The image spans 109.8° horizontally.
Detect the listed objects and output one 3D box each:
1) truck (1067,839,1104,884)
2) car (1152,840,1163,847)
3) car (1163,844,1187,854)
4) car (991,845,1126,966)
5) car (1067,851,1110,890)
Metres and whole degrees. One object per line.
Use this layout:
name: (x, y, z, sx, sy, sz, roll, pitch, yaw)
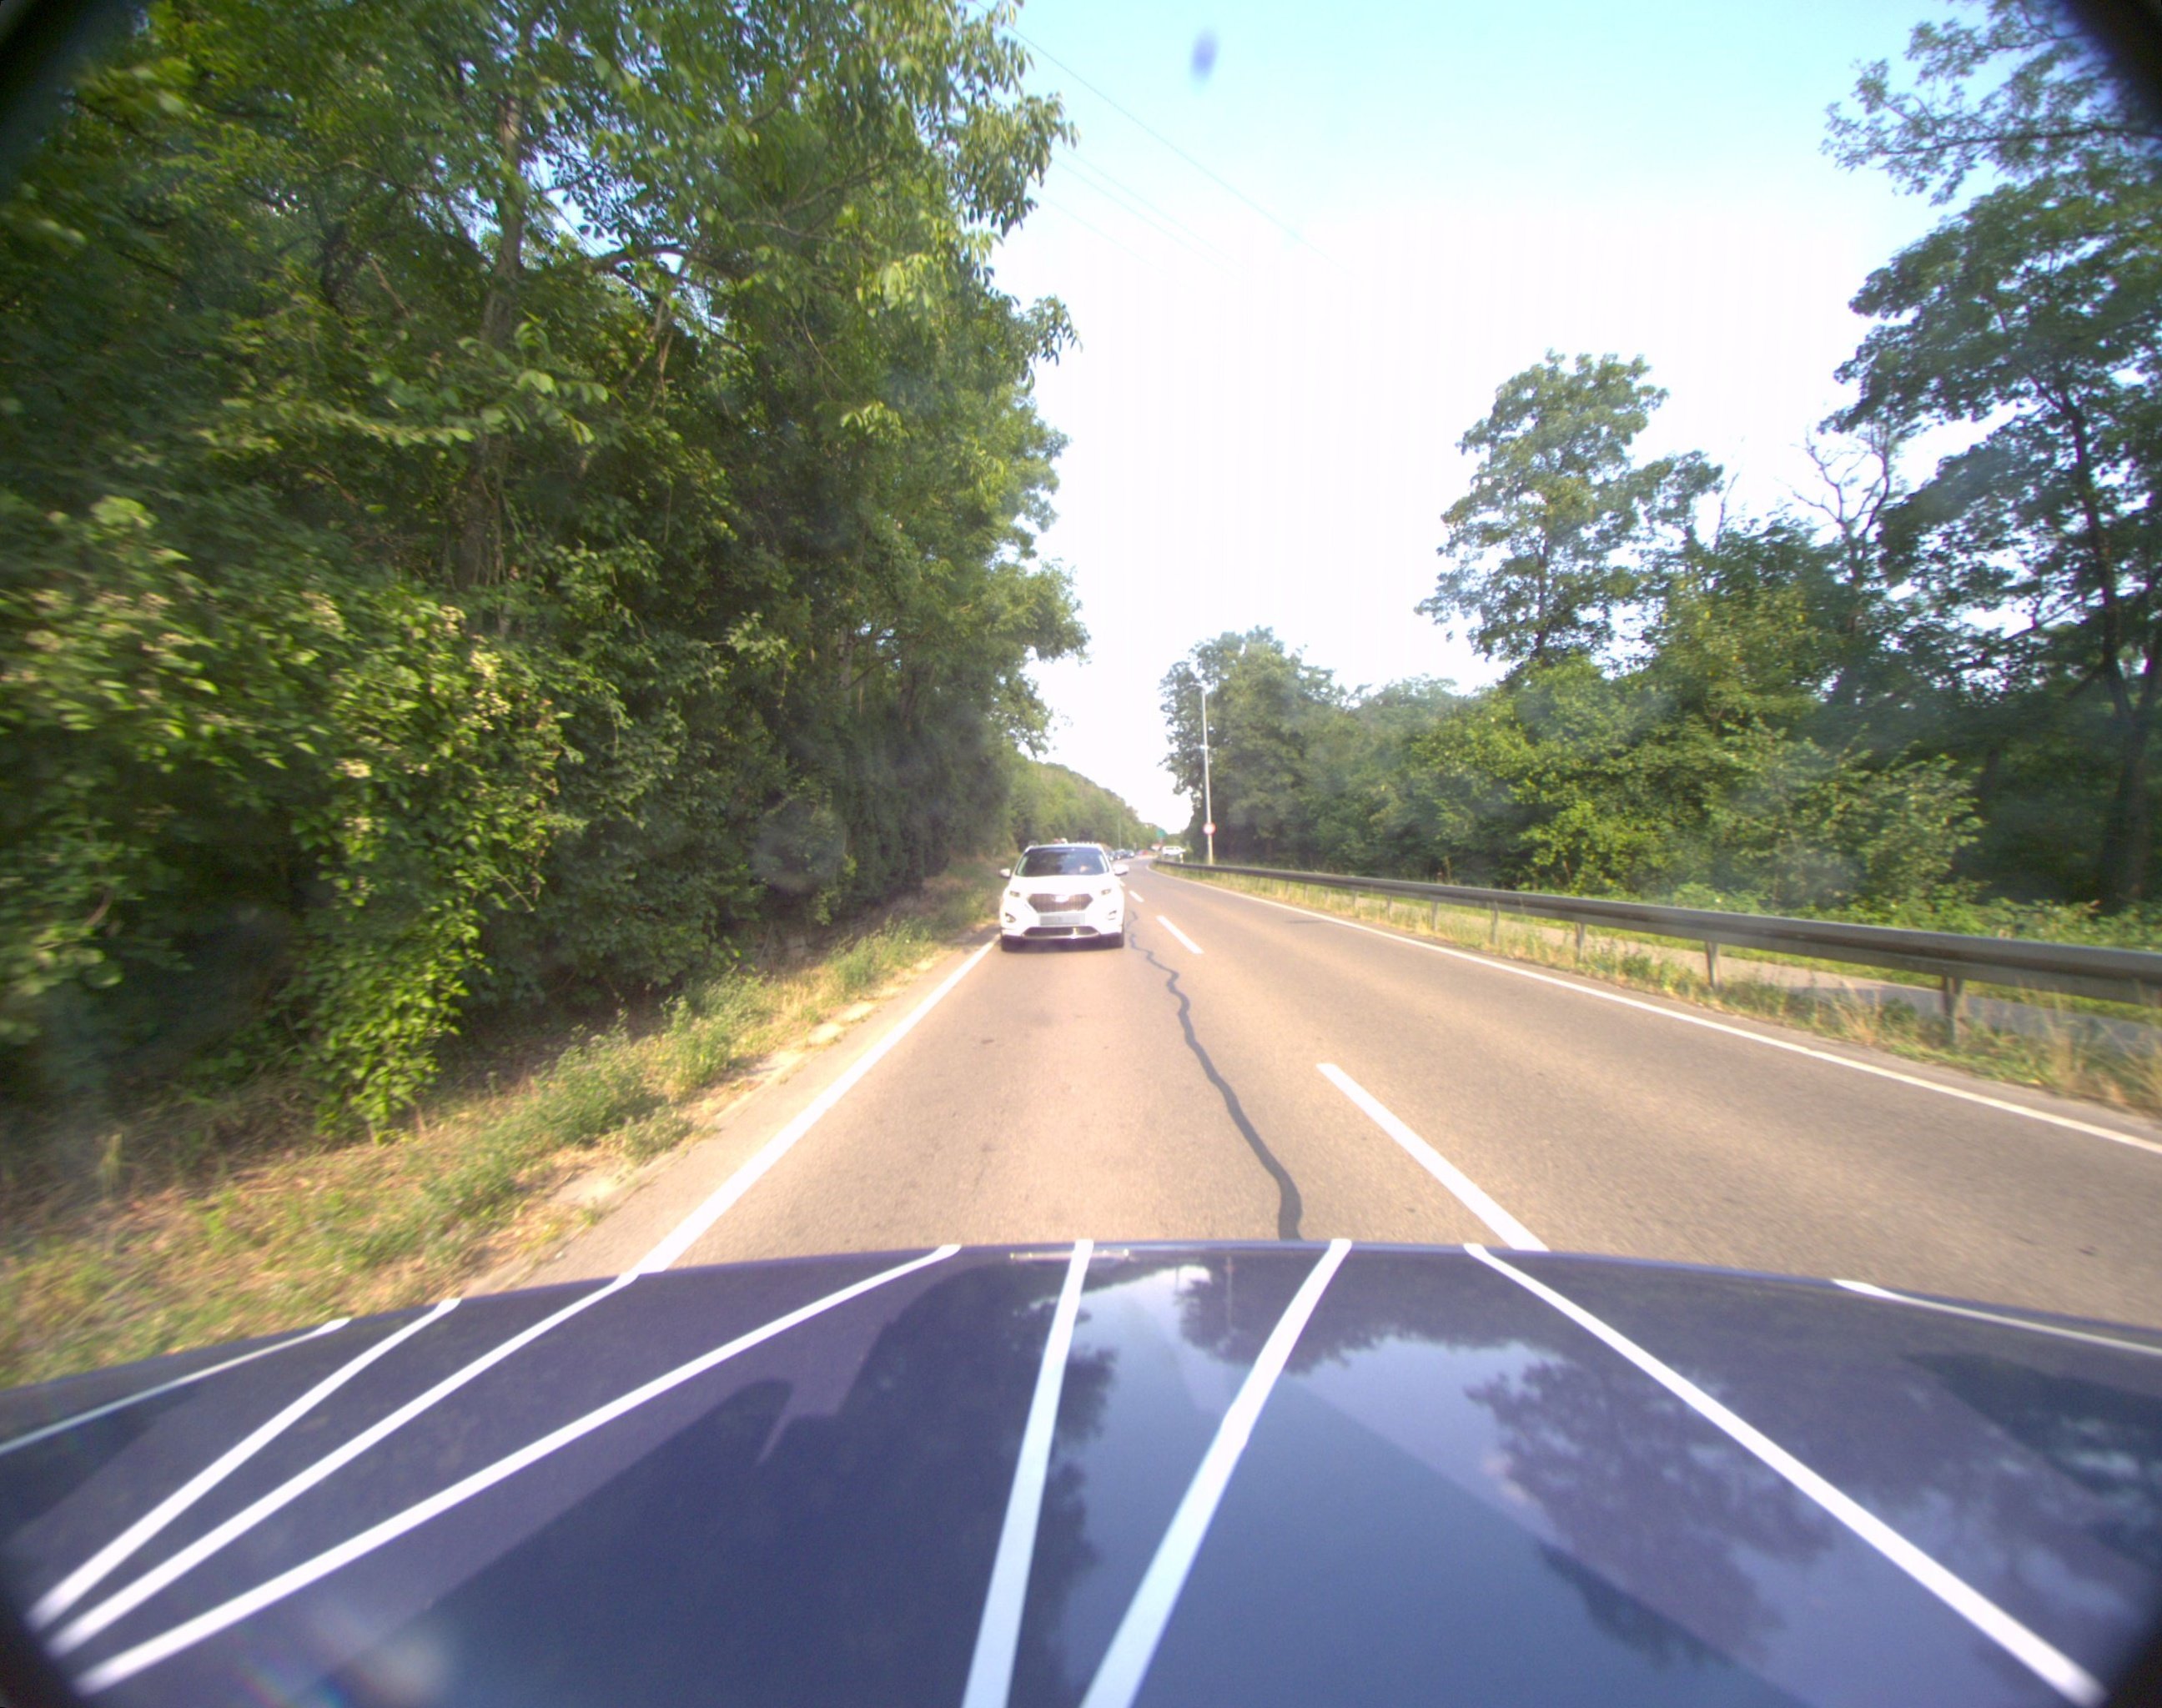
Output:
truck: (0.271, 0.378, 43.567, 1.894, 2.334, 5.273, -2, 1, 1)
car: (20.222, -2.779, 200.948, 1.996, 1.697, 4.004, -2, 1, 17)
car: (19.507, -1.025, 158.130, 4.517, 2.002, 2.003, -1, 1, 20)
car: (-0.296, 0.730, 12.983, 1.894, 1.691, 4.136, -2, 1, 1)
car: (0.318, 0.663, 32.871, 1.704, 1.477, 4.136, -2, 0, 1)
